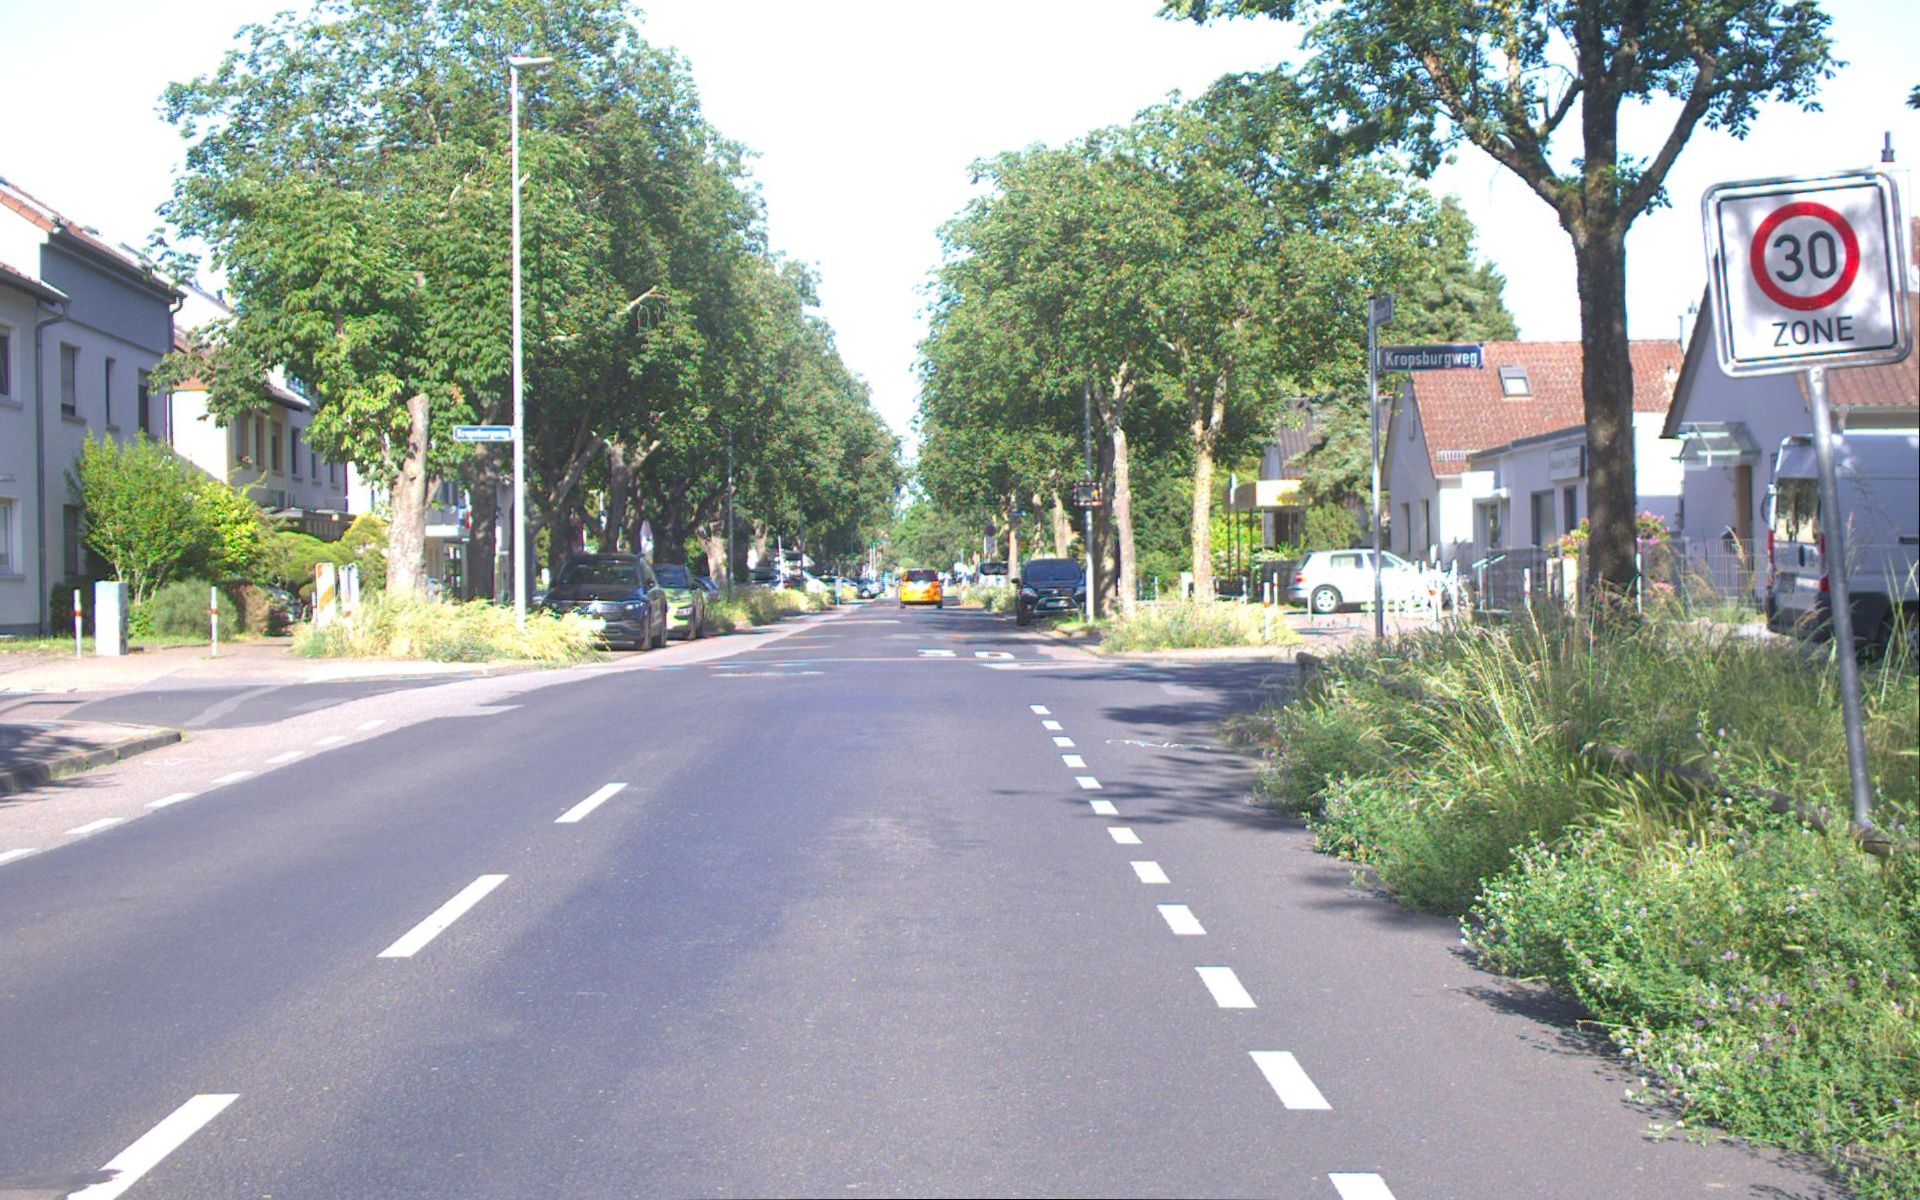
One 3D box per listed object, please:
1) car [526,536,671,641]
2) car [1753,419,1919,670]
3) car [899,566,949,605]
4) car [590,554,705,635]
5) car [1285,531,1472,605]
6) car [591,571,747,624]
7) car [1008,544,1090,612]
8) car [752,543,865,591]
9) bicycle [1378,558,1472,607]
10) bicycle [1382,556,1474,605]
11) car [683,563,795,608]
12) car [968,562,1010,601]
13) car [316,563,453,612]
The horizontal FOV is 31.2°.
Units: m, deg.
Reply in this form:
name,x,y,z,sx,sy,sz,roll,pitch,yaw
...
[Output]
name,x,y,z,sx,sy,sz,roll,pitch,yaw
car,-6.218,-0.172,59.618,1.953,1.721,4.875,1,0,0
car,11.429,-0.620,36.151,5.594,2.530,2.266,-1,1,-3
car,-1.452,-0.586,137.263,1.888,1.474,3.888,1,0,-2
car,-6.456,-0.094,71.347,1.939,1.603,4.383,1,0,0
car,9.596,-0.743,79.030,3.987,1.483,1.902,-3,2,-1
car,-8.781,-0.082,103.846,4.554,1.506,1.841,1,2,0
car,2.238,-0.541,87.233,1.853,1.620,4.469,-2,0,-1
car,-7.463,-1.617,169.395,5.498,2.240,2.517,1,2,-2
bicycle,10.266,-0.394,75.901,1.958,0.995,0.576,-2,2,-2
bicycle,10.465,-0.438,76.894,1.923,0.995,0.576,-2,2,-2
car,-9.088,-0.613,141.321,4.545,1.759,2.001,1,2,-5
car,1.359,-0.872,160.345,1.902,1.768,4.301,1,0,0
car,-20.149,-0.453,120.483,4.554,1.612,2.000,1,2,-4
